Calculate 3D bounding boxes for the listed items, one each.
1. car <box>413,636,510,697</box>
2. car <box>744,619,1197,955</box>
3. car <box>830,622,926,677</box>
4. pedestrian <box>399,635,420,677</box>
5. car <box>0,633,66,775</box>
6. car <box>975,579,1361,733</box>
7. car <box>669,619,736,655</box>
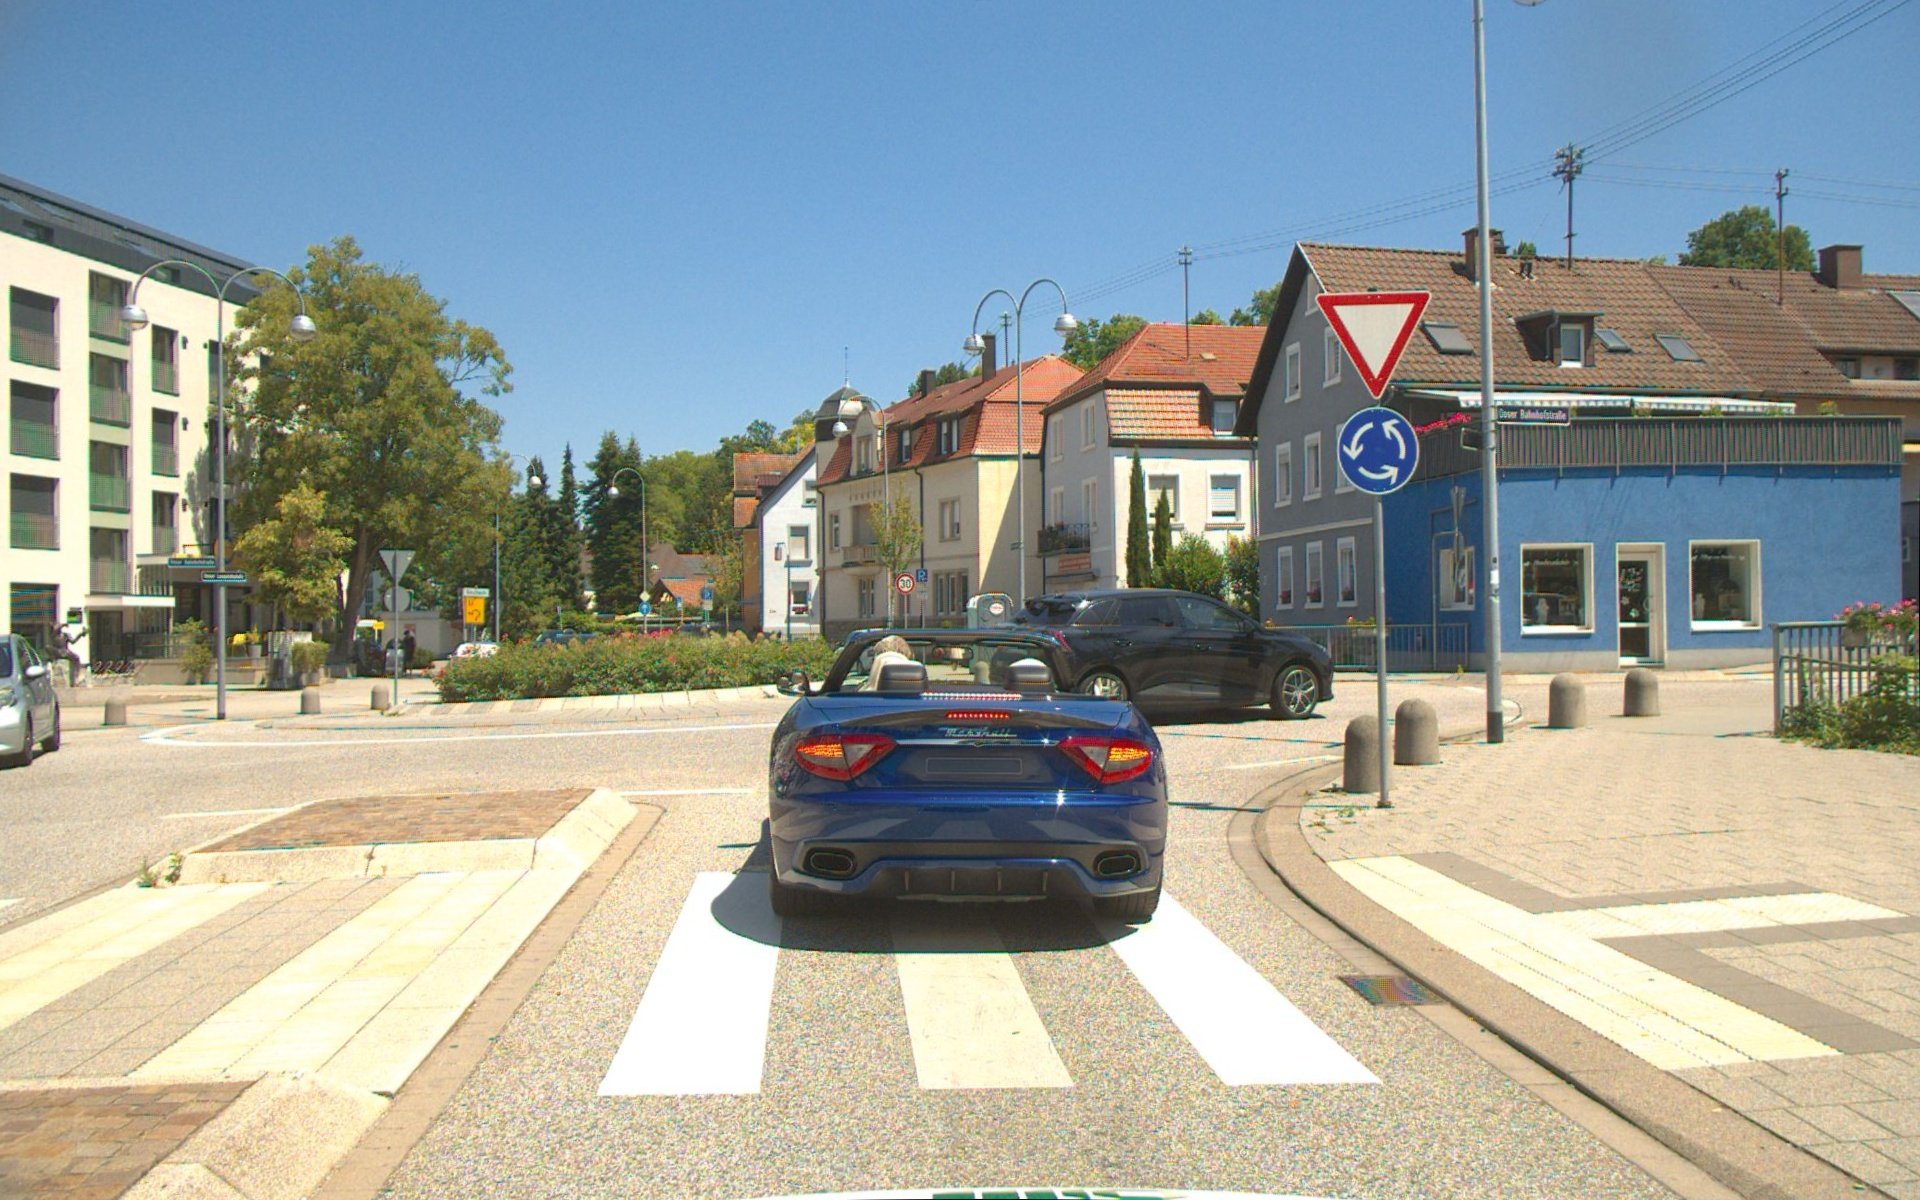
[{"bbox_3d":[-13.505,1.774,45.024,1.957,1.536,3.992,-1,-1,-9],"label":"car"},{"bbox_3d":[0.054,0.803,8.984,1.871,1.384,4.285,0,-1,0],"label":"car"},{"bbox_3d":[-2.698,1.623,53.357,1.891,1.641,4.121,-1,-2,-21],"label":"car"},{"bbox_3d":[-21.265,2.151,63.894,0.523,1.603,0.563,-2,-1,10],"label":"pedestrian"},{"bbox_3d":[-11.245,1.158,18.762,1.554,1.475,3.445,-3,0,-23],"label":"car"},{"bbox_3d":[2.452,0.584,19.440,4.194,1.574,1.797,-2,1,-25],"label":"car"},{"bbox_3d":[-12.539,1.806,80.258,1.832,1.616,3.957,-2,-1,-31],"label":"car"}]
